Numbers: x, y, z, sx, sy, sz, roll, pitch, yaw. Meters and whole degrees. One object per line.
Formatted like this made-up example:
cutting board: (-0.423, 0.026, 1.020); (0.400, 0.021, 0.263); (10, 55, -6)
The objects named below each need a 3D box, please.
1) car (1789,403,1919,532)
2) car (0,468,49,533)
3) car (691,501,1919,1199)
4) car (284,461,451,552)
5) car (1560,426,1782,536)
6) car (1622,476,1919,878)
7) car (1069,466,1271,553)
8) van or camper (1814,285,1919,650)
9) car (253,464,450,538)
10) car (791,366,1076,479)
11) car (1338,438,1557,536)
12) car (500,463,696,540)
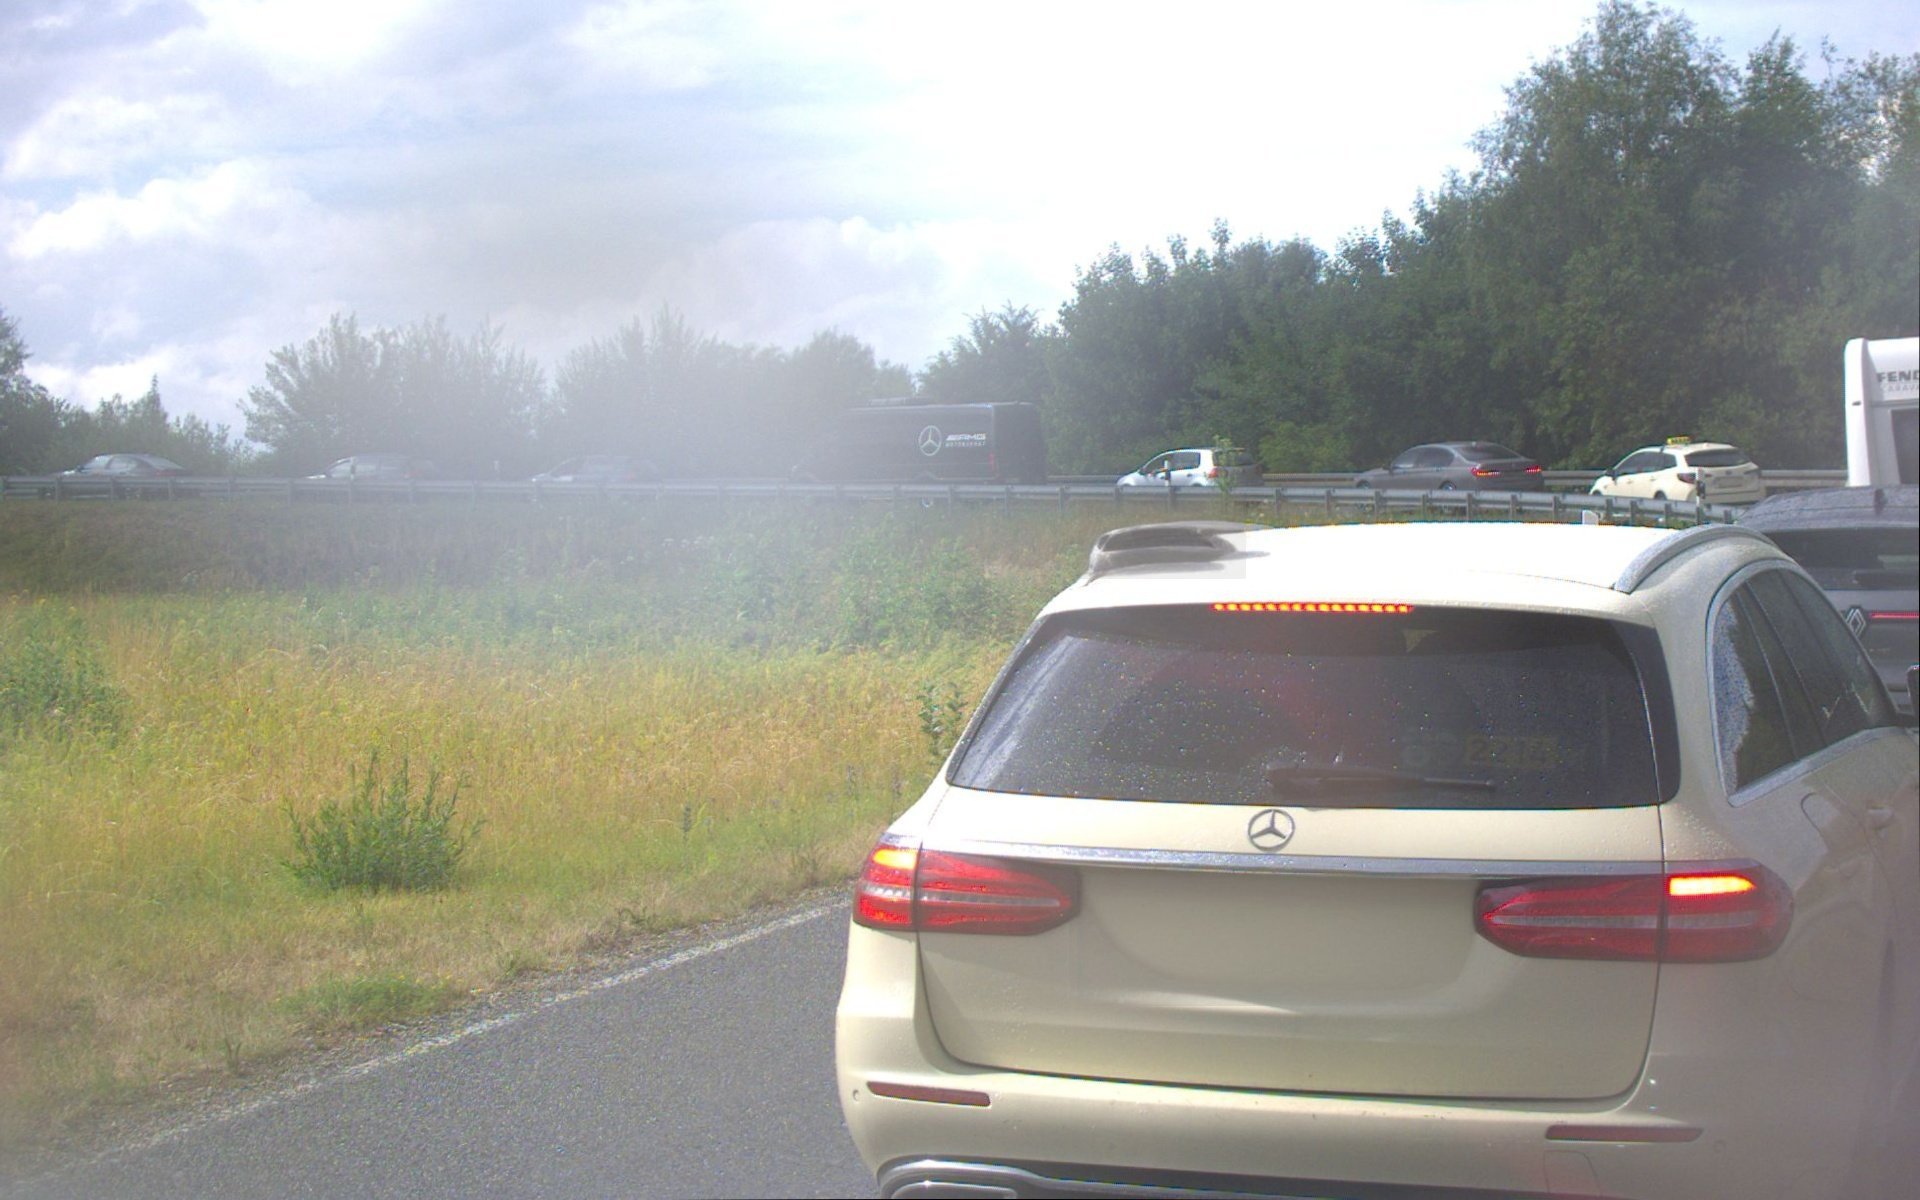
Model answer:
car: (15.060, -2.077, 54.157); (1.993, 1.855, 5.058); (-2, 0, -10)
car: (-29.978, -2.940, 103.470); (4.498, 1.855, 1.999); (-2, 0, 11)
car: (1.211, 0.547, 7.643); (1.918, 1.502, 4.592); (0, 2, 19)
car: (-16.562, -2.614, 96.100); (3.992, 2.006, 1.998); (-5, 5, 28)
car: (12.926, -2.151, 62.849); (1.993, 1.855, 5.059); (-3, 2, -13)
car: (4.199, 0.235, 14.928); (1.720, 1.519, 3.995); (-1, 1, 24)
car: (4.916, -2.115, 81.067); (1.994, 1.855, 5.056); (-2, 0, -35)
van or camper: (8.790, -1.143, 28.233); (2.433, 2.720, 5.995); (0, 3, 24)
car: (-17.025, -2.745, 96.211); (5.045, 1.855, 1.998); (-2, 0, 19)
car: (-0.715, -4.463, 87.047); (6.977, 2.586, 2.869); (0, 2, 41)
car: (10.244, -2.361, 72.691); (1.993, 1.855, 5.058); (-2, 0, -27)
car: (-9.772, -2.630, 92.575); (5.050, 1.855, 1.996); (-2, 0, 33)
